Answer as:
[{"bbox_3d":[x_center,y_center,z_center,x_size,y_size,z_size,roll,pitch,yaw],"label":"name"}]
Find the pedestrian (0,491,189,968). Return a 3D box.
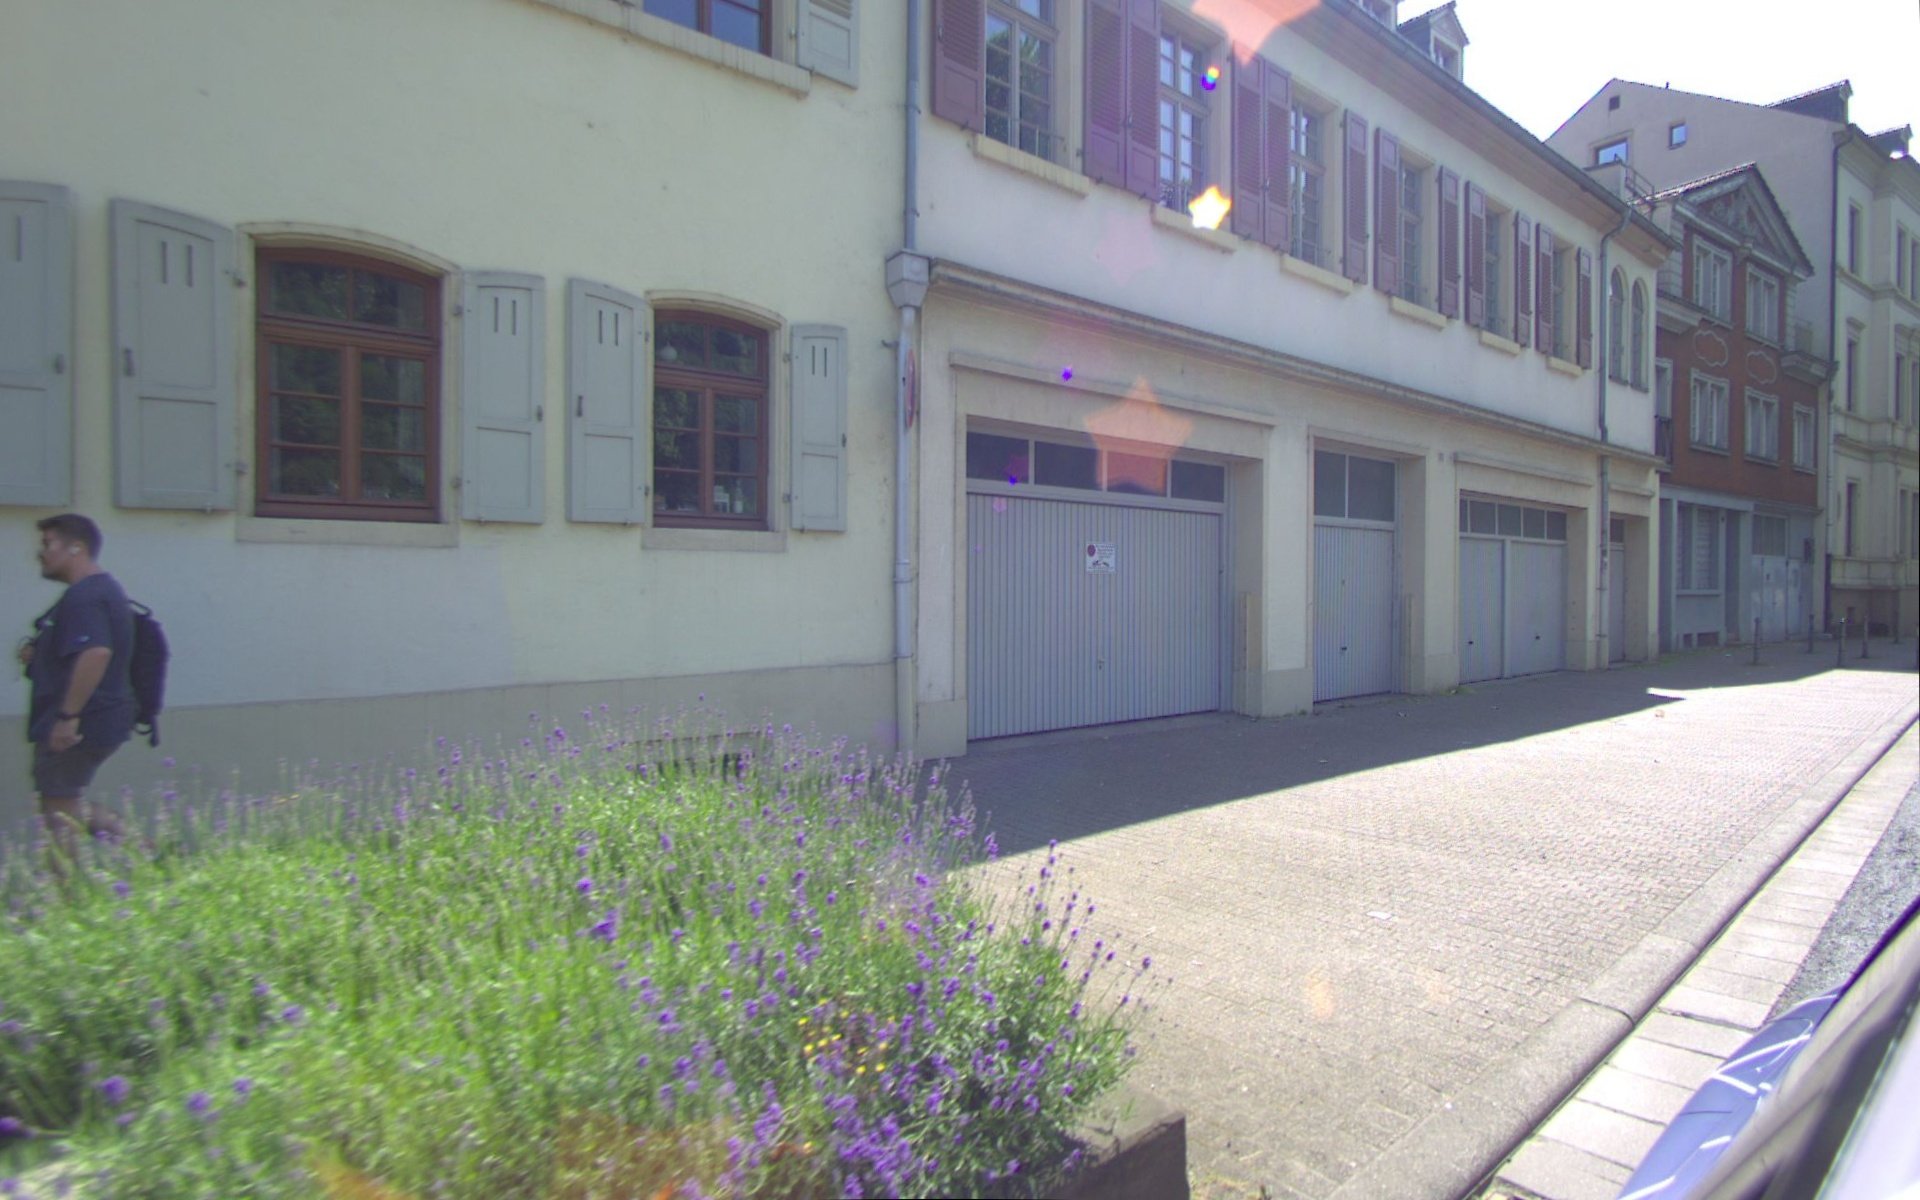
[{"bbox_3d":[-3.560,0.447,4.080,0.683,1.734,0.764,-1,4,-39],"label":"pedestrian"}]
